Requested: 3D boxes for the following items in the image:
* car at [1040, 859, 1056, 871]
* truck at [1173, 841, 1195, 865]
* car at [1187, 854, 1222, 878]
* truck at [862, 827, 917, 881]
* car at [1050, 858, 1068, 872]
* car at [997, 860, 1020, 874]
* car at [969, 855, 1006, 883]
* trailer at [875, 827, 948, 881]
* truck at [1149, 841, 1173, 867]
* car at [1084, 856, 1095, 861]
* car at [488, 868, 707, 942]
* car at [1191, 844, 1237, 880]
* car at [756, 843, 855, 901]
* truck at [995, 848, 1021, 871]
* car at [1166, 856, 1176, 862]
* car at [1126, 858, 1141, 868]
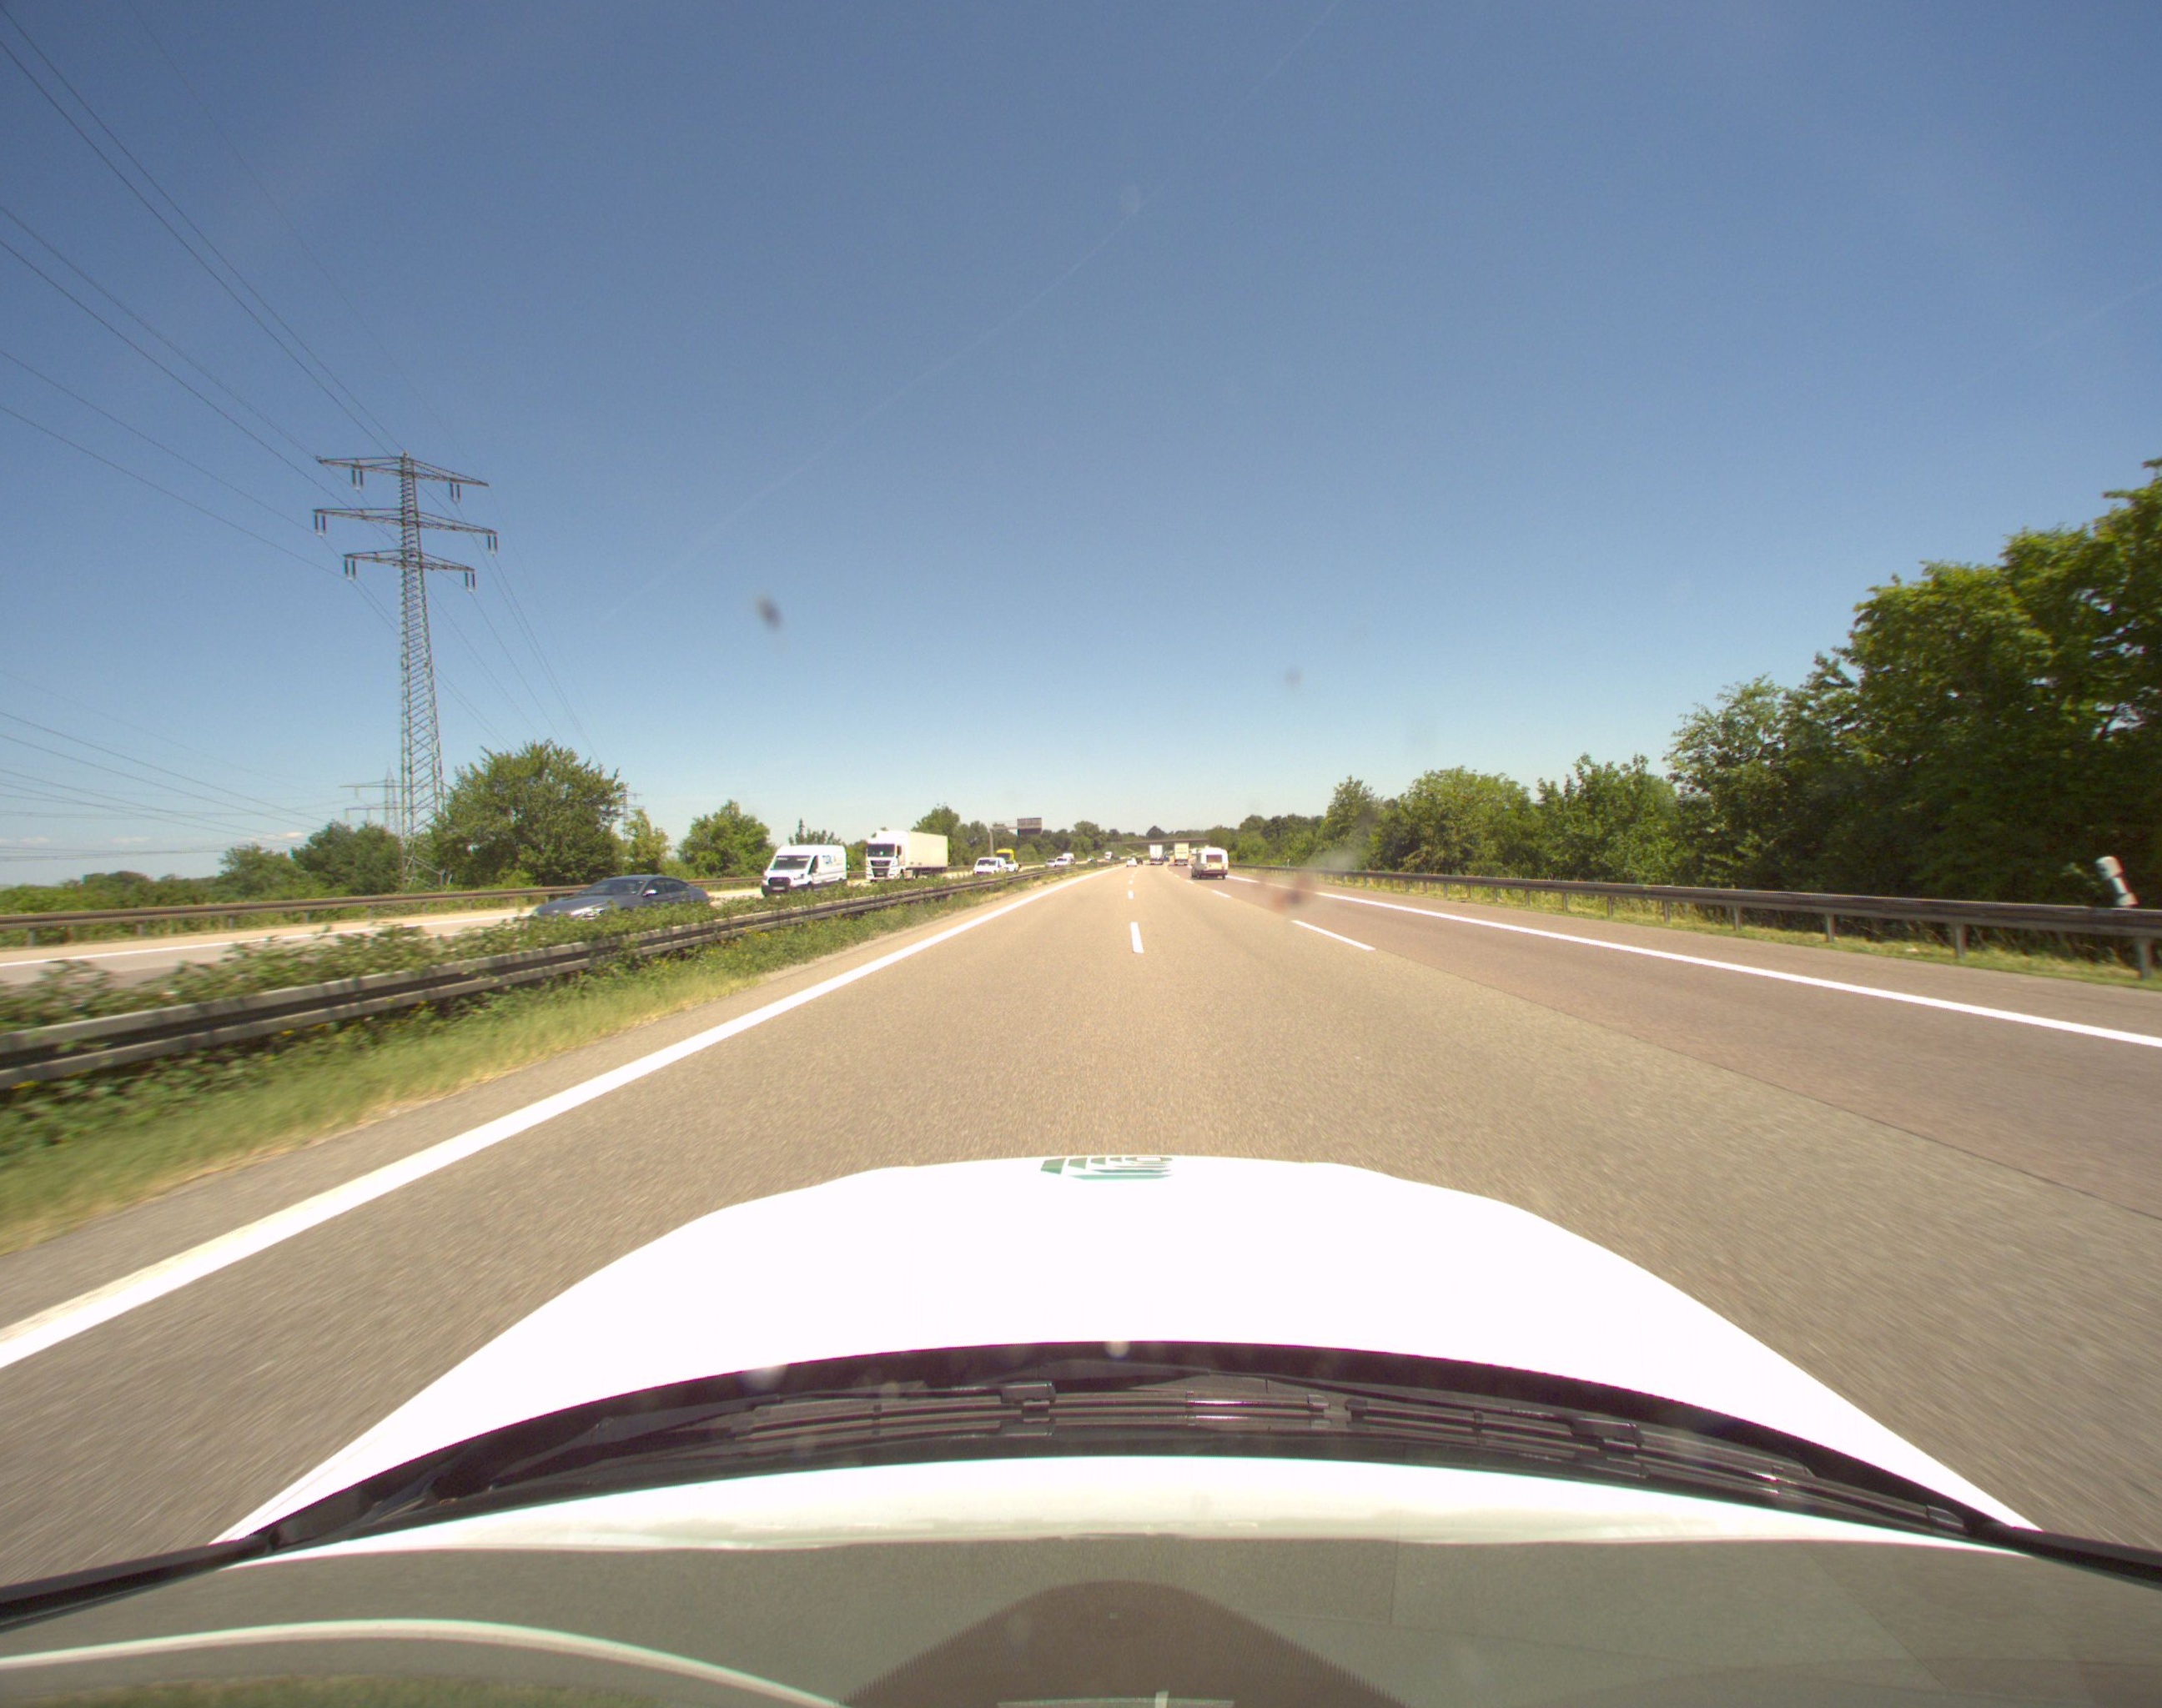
[{"bbox_3d":[-5.162,1.699,127.943,1.985,1.736,4.819,-1,0,4],"label":"car"},{"bbox_3d":[19.357,-0.281,152.111,3.161,4.304,16.066,-1,1,11],"label":"truck"},{"bbox_3d":[9.657,0.895,63.884,2.037,1.658,5.513,-2,1,2],"label":"car"},{"bbox_3d":[-14.918,0.032,63.952,2.819,4.081,5.169,-1,-1,3],"label":"truck"},{"bbox_3d":[-3.032,1.527,115.754,1.985,1.882,5.728,-1,0,4],"label":"car"},{"bbox_3d":[-8.534,1.495,95.855,1.985,1.548,4.730,-1,0,3],"label":"car"},{"bbox_3d":[-7.094,1.114,62.521,1.986,1.939,5.341,-1,1,2],"label":"car"},{"bbox_3d":[-14.523,0.010,71.364,2.823,4.258,13.647,-1,0,3],"label":"trailer"},{"bbox_3d":[16.299,-0.179,164.933,3.644,5.018,16.064,-1,1,10],"label":"truck"},{"bbox_3d":[2.370,1.212,224.463,1.980,1.458,4.102,-1,0,12],"label":"car"},{"bbox_3d":[-10.894,1.081,18.874,1.985,1.327,4.776,-1,1,3],"label":"car"},{"bbox_3d":[9.413,0.538,58.023,2.433,2.321,5.323,-2,1,1],"label":"car"},{"bbox_3d":[-12.754,0.800,38.275,1.984,2.471,6.497,-1,0,4],"label":"car"},{"bbox_3d":[-10.674,0.811,119.879,2.511,3.152,9.674,-1,0,3],"label":"truck"},{"bbox_3d":[23.522,1.368,213.114,1.815,1.547,4.336,0,0,14],"label":"car"},{"bbox_3d":[8.848,1.507,137.634,1.815,1.547,4.336,0,0,14],"label":"car"}]
